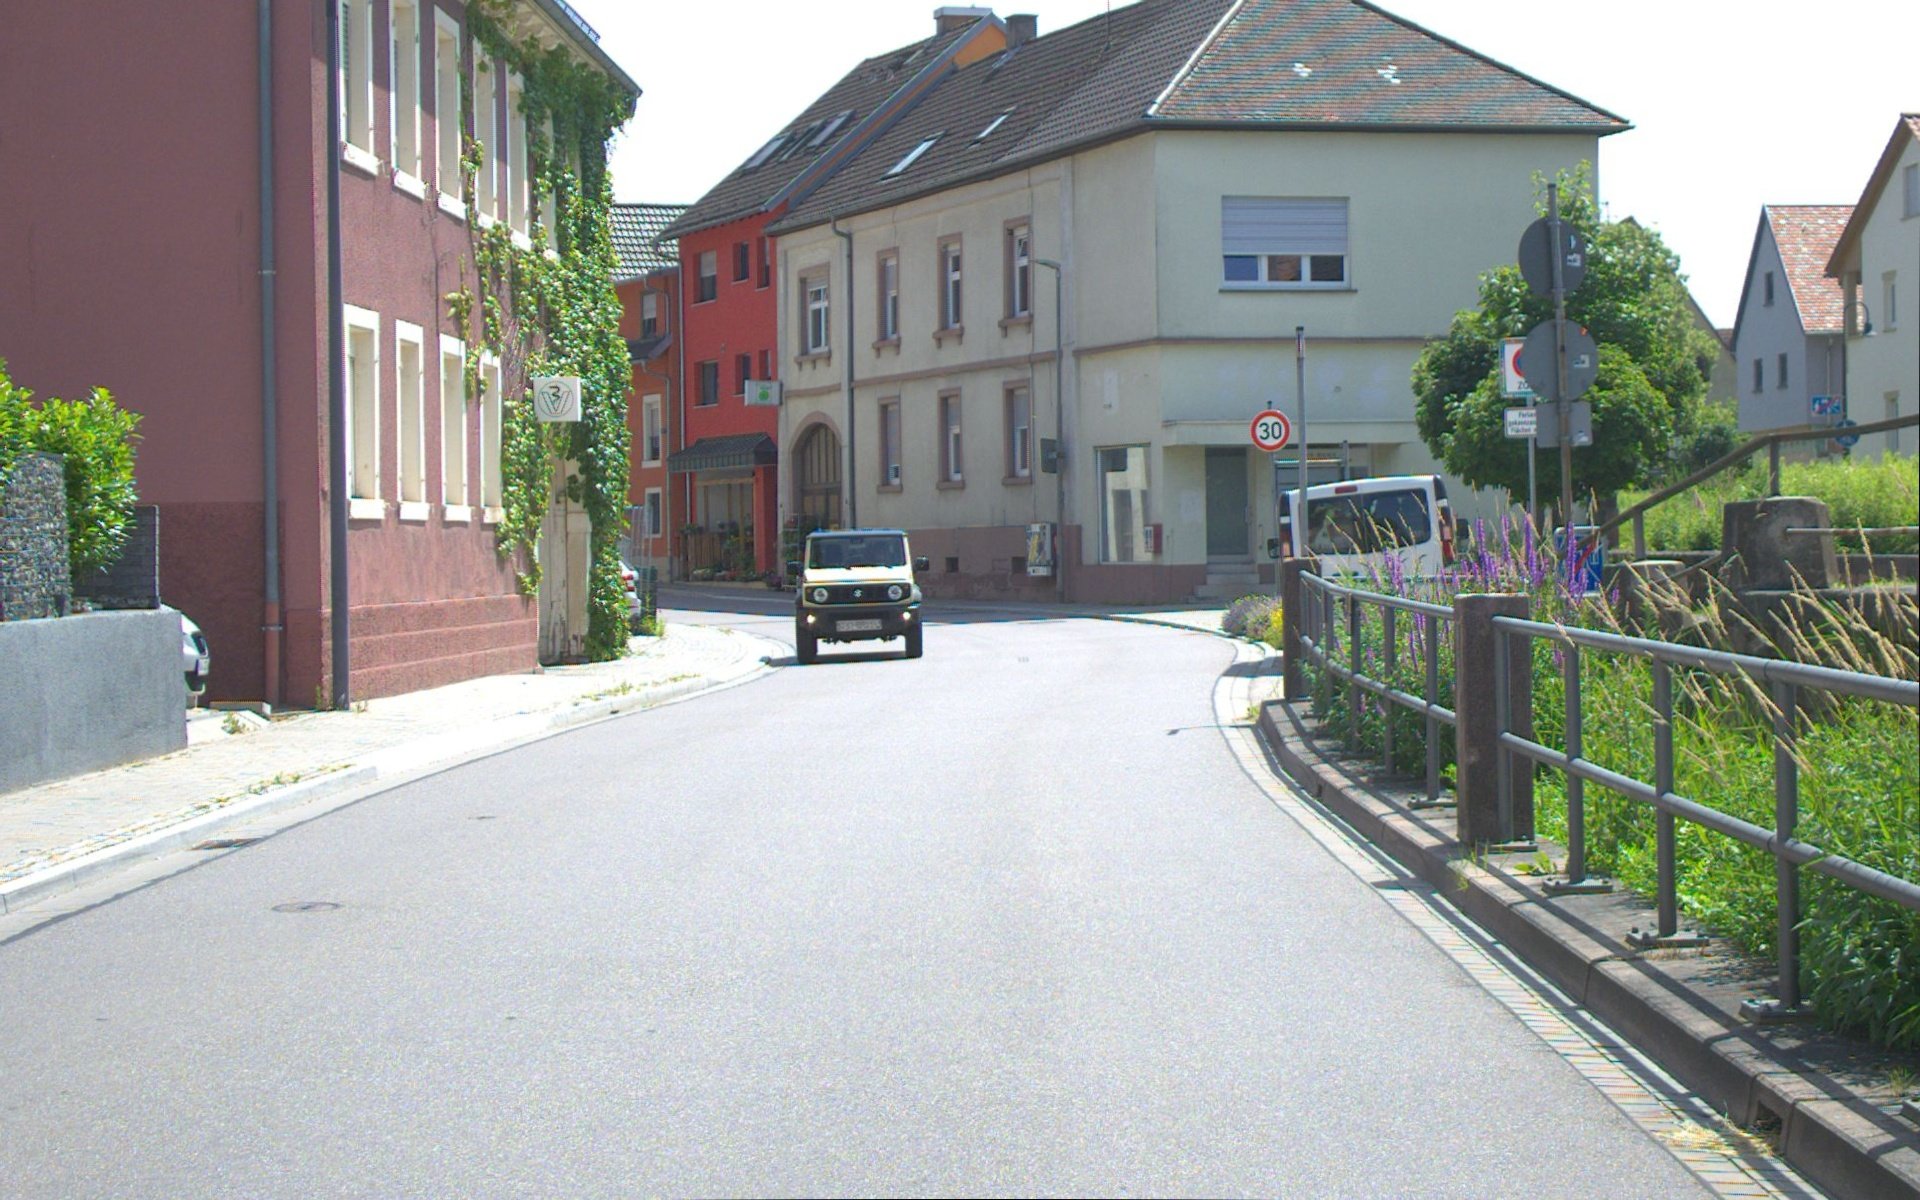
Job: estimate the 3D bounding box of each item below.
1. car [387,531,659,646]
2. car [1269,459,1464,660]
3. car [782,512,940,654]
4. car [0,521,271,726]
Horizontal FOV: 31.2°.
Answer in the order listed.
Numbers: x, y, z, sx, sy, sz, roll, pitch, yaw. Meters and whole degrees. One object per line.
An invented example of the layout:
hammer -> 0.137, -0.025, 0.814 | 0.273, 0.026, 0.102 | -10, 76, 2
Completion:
car -> -6.608, -0.167, 51.749 | 1.995, 1.525, 3.997 | -1, -2, -45
car -> 4.316, -0.453, 36.807 | 1.898, 1.974, 3.113 | -3, 1, 6
car -> -1.264, -0.256, 45.170 | 1.622, 1.713, 3.472 | -3, 1, 5
car -> -7.326, 0.114, 26.578 | 3.565, 1.401, 1.652 | 4, 1, 3
